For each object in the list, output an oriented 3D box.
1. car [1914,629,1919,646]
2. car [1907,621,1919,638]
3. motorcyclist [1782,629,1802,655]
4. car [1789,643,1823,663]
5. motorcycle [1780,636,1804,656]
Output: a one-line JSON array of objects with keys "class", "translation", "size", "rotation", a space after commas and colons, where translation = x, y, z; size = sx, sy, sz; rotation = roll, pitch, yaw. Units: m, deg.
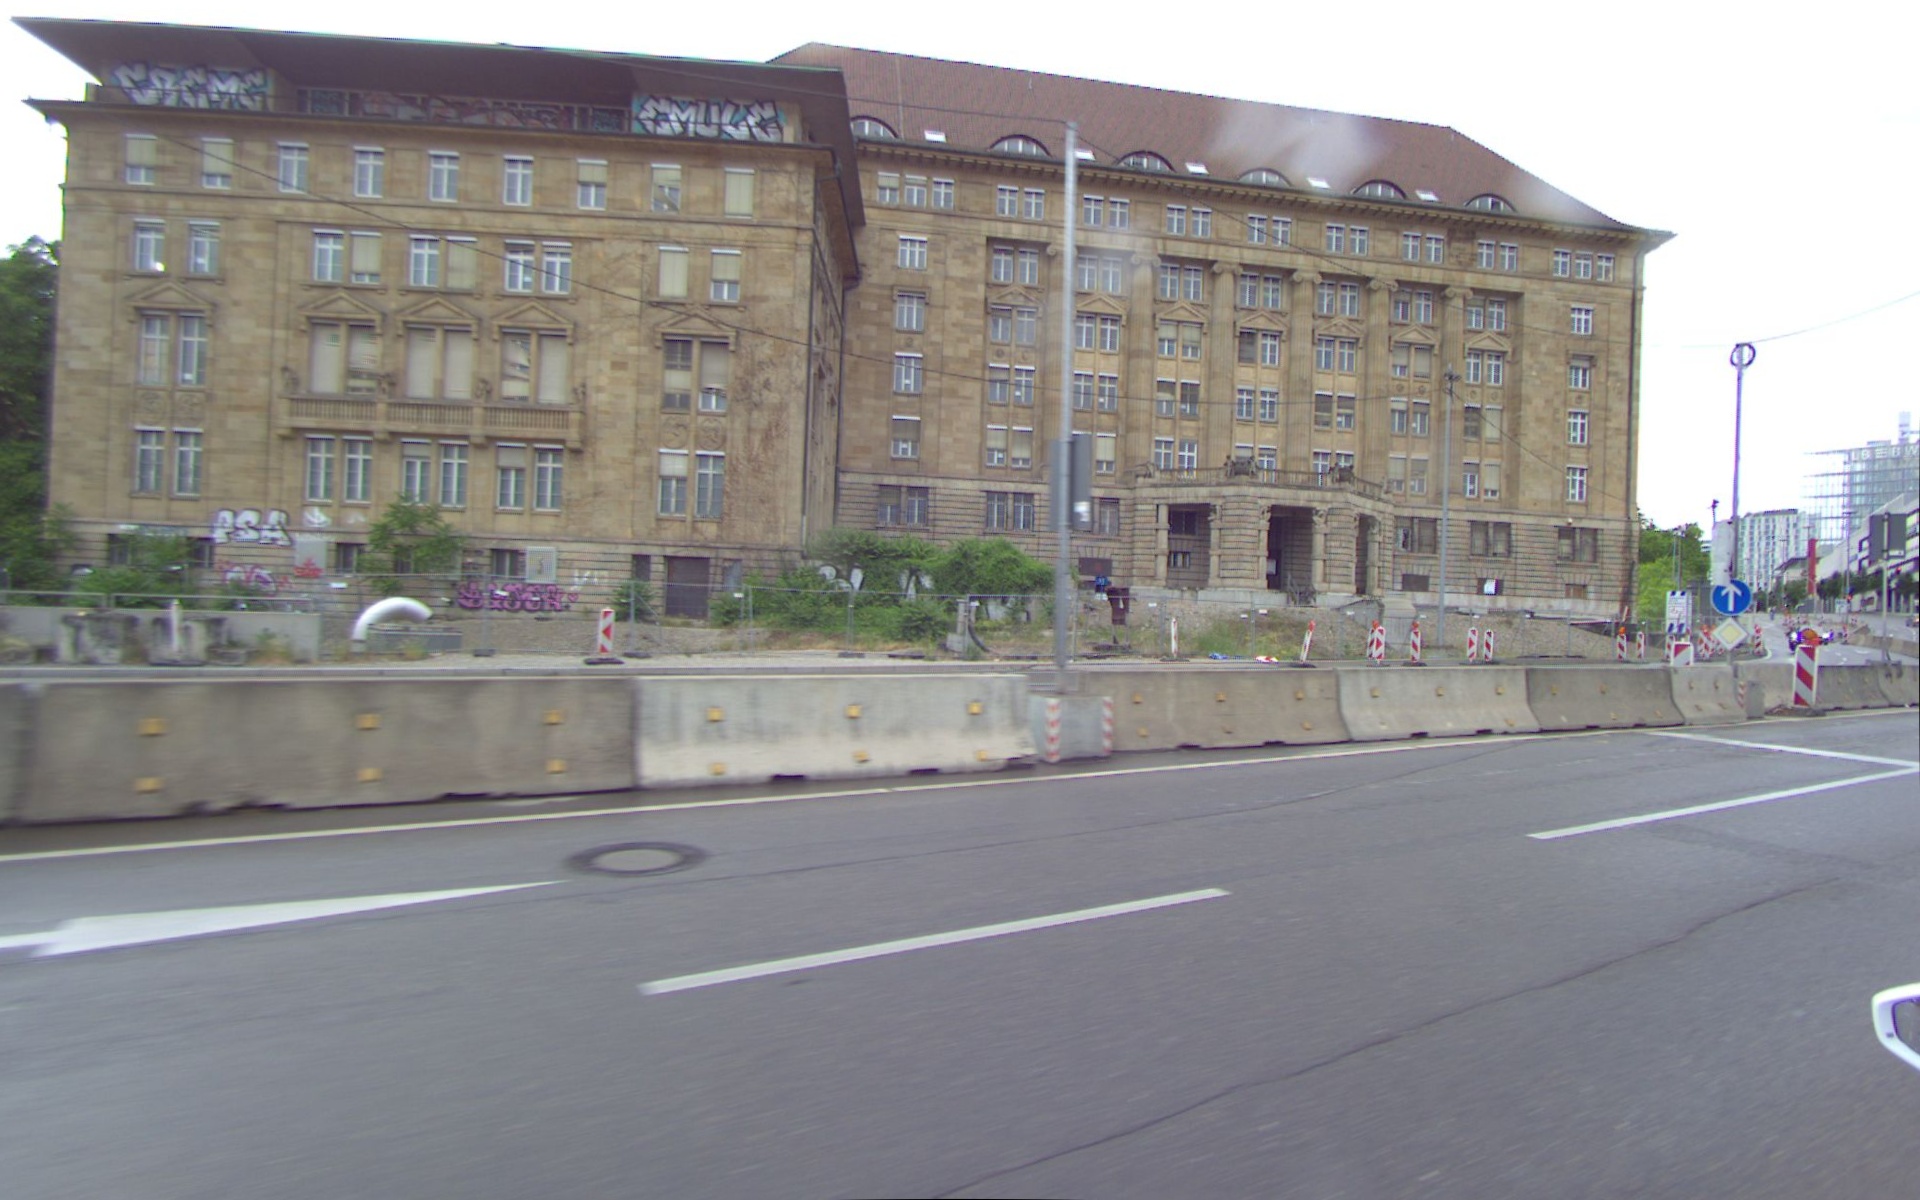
[{"class": "car", "translation": [91.682, 3.580, 94.743], "size": [1.717, 1.526, 3.744], "rotation": [2, -1, 33]}, {"class": "car", "translation": [106.054, 3.316, 110.931], "size": [1.973, 1.828, 4.239], "rotation": [1, -1, 45]}, {"class": "motorcyclist", "translation": [49.970, 2.520, 60.330], "size": [0.787, 1.470, 0.823], "rotation": [2, -1, 34]}, {"class": "car", "translation": [66.220, 4.181, 78.682], "size": [1.580, 1.369, 3.745], "rotation": [3, -3, 33]}, {"class": "motorcycle", "translation": [49.838, 2.762, 60.151], "size": [0.857, 1.163, 2.148], "rotation": [2, -1, 34]}]
